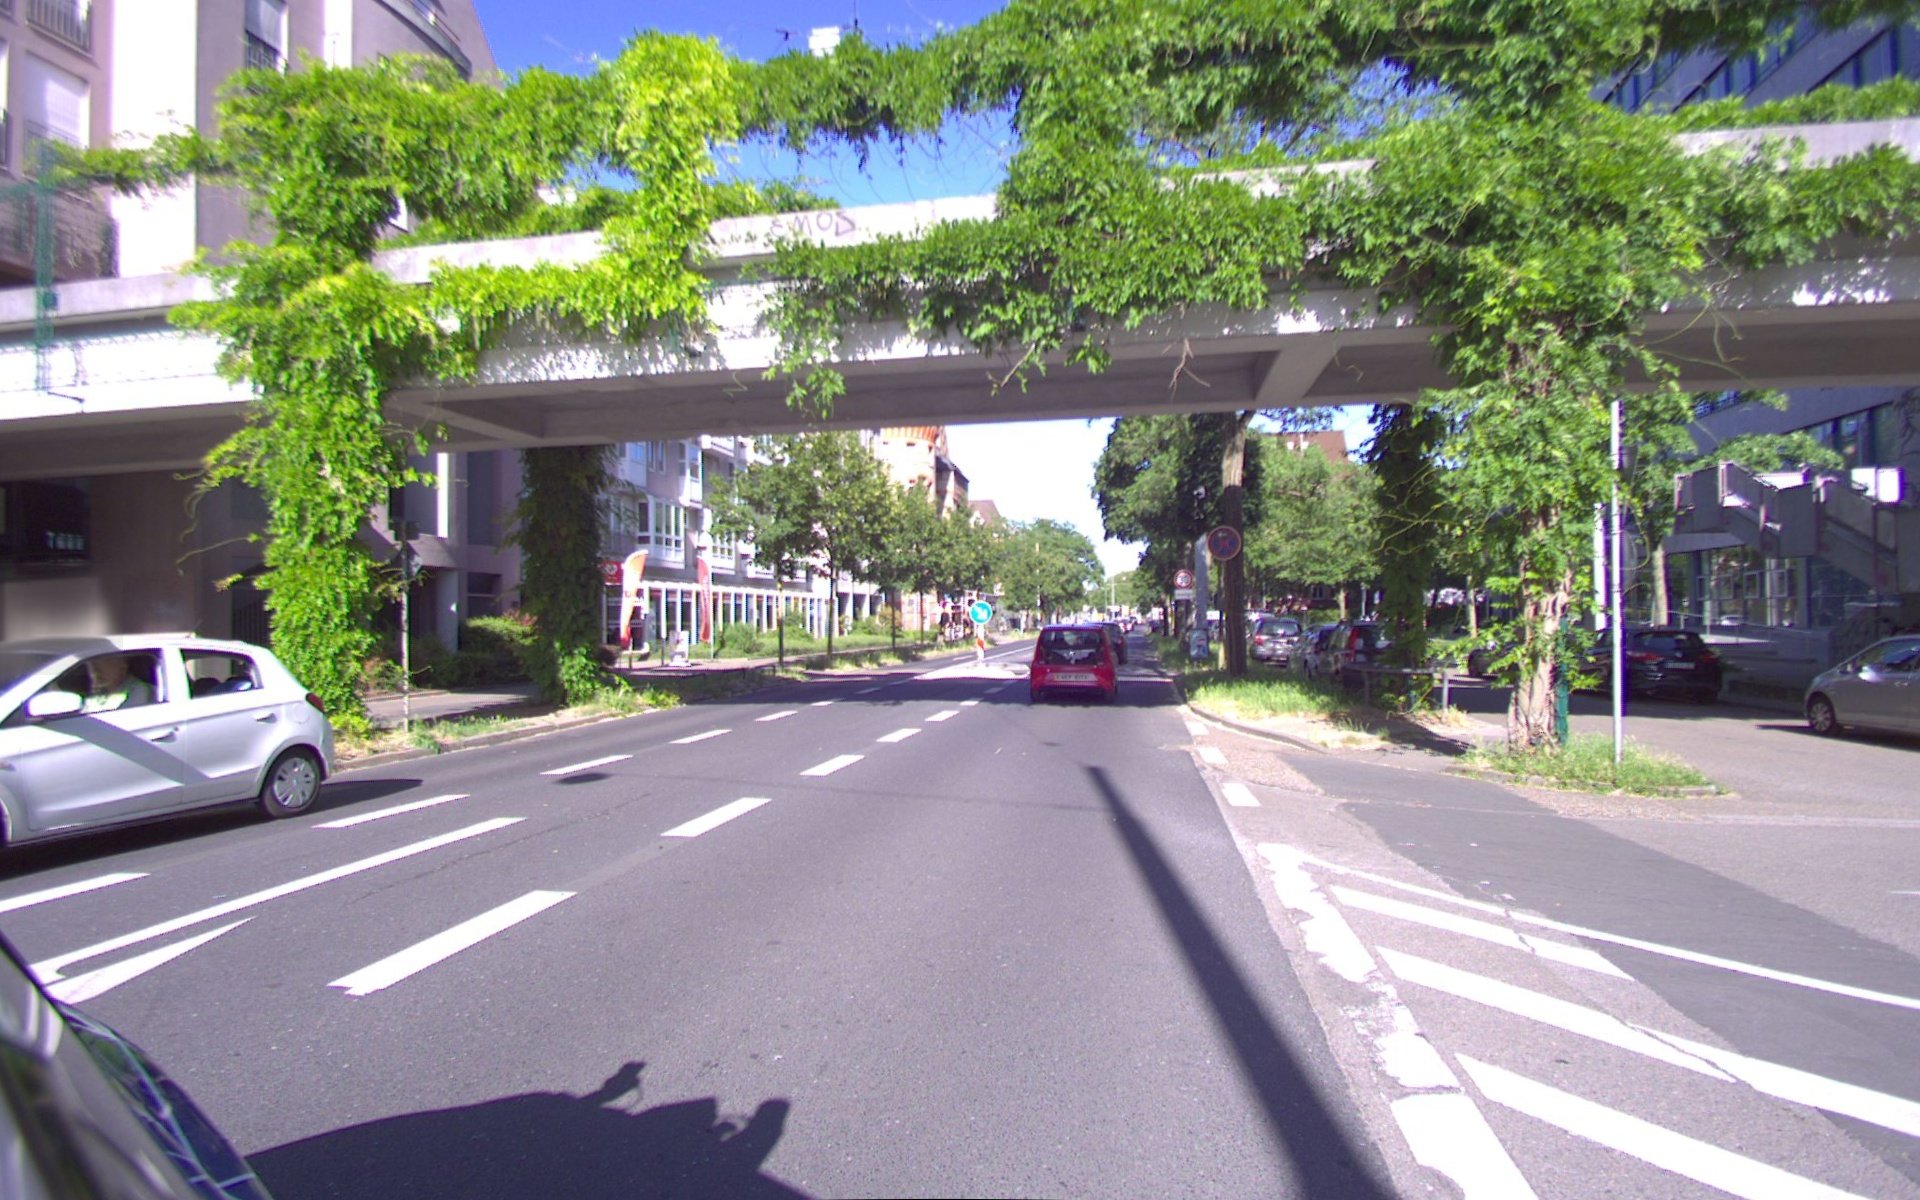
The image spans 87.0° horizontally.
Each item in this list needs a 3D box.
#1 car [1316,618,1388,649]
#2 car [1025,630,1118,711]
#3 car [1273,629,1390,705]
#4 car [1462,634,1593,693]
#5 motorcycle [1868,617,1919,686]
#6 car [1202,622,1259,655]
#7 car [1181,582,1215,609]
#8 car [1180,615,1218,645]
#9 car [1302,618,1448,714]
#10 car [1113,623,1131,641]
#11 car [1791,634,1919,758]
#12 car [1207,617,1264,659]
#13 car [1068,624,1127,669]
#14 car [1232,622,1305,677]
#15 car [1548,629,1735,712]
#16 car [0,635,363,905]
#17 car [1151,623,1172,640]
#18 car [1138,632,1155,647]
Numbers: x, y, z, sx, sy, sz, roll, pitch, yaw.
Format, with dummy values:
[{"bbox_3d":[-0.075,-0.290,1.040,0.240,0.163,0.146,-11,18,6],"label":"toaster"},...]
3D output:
[{"bbox_3d":[24.701,2.105,63.922,3.964,1.727,1.696,-4,-2,16],"label":"car"},{"bbox_3d":[2.287,1.331,20.187,1.638,1.439,3.496,-1,-2,10],"label":"car"},{"bbox_3d":[8.373,1.448,23.156,1.639,1.459,4.270,3,-1,9],"label":"car"},{"bbox_3d":[14.879,1.616,26.750,1.666,1.414,3.792,0,-1,7],"label":"car"},{"bbox_3d":[18.082,0.949,18.841,0.723,1.280,2.047,-1,-1,9],"label":"motorcycle"},{"bbox_3d":[12.411,1.746,46.662,1.699,1.394,4.487,-1,-1,4],"label":"car"},{"bbox_3d":[19.040,-0.304,81.153,1.974,2.029,4.290,-1,-1,4],"label":"car"},{"bbox_3d":[15.737,1.970,66.782,2.048,1.923,4.513,-1,-1,9],"label":"car"},{"bbox_3d":[7.624,1.150,18.947,1.727,1.550,3.767,2,-1,10],"label":"car"},{"bbox_3d":[14.443,2.820,90.107,1.456,1.539,2.806,0,-1,11],"label":"car"},{"bbox_3d":[12.677,1.205,12.876,1.593,1.497,3.637,-1,-1,9],"label":"car"},{"bbox_3d":[10.892,1.478,40.187,1.716,1.561,4.435,-1,-1,10],"label":"car"},{"bbox_3d":[4.912,1.597,35.763,1.852,1.469,4.577,0,-1,11],"label":"car"},{"bbox_3d":[9.834,1.539,32.517,1.759,1.659,4.069,-1,-2,10],"label":"car"},{"bbox_3d":[14.028,1.386,21.118,1.719,1.541,3.987,0,-1,10],"label":"car"},{"bbox_3d":[-6.285,1.041,6.851,1.646,1.542,4.087,-1,-2,9],"label":"car"},{"bbox_3d":[17.536,2.726,88.056,1.723,1.501,3.986,-1,-1,11],"label":"car"},{"bbox_3d":[18.350,3.885,99.583,1.590,1.425,3.986,-1,-1,11],"label":"car"}]
